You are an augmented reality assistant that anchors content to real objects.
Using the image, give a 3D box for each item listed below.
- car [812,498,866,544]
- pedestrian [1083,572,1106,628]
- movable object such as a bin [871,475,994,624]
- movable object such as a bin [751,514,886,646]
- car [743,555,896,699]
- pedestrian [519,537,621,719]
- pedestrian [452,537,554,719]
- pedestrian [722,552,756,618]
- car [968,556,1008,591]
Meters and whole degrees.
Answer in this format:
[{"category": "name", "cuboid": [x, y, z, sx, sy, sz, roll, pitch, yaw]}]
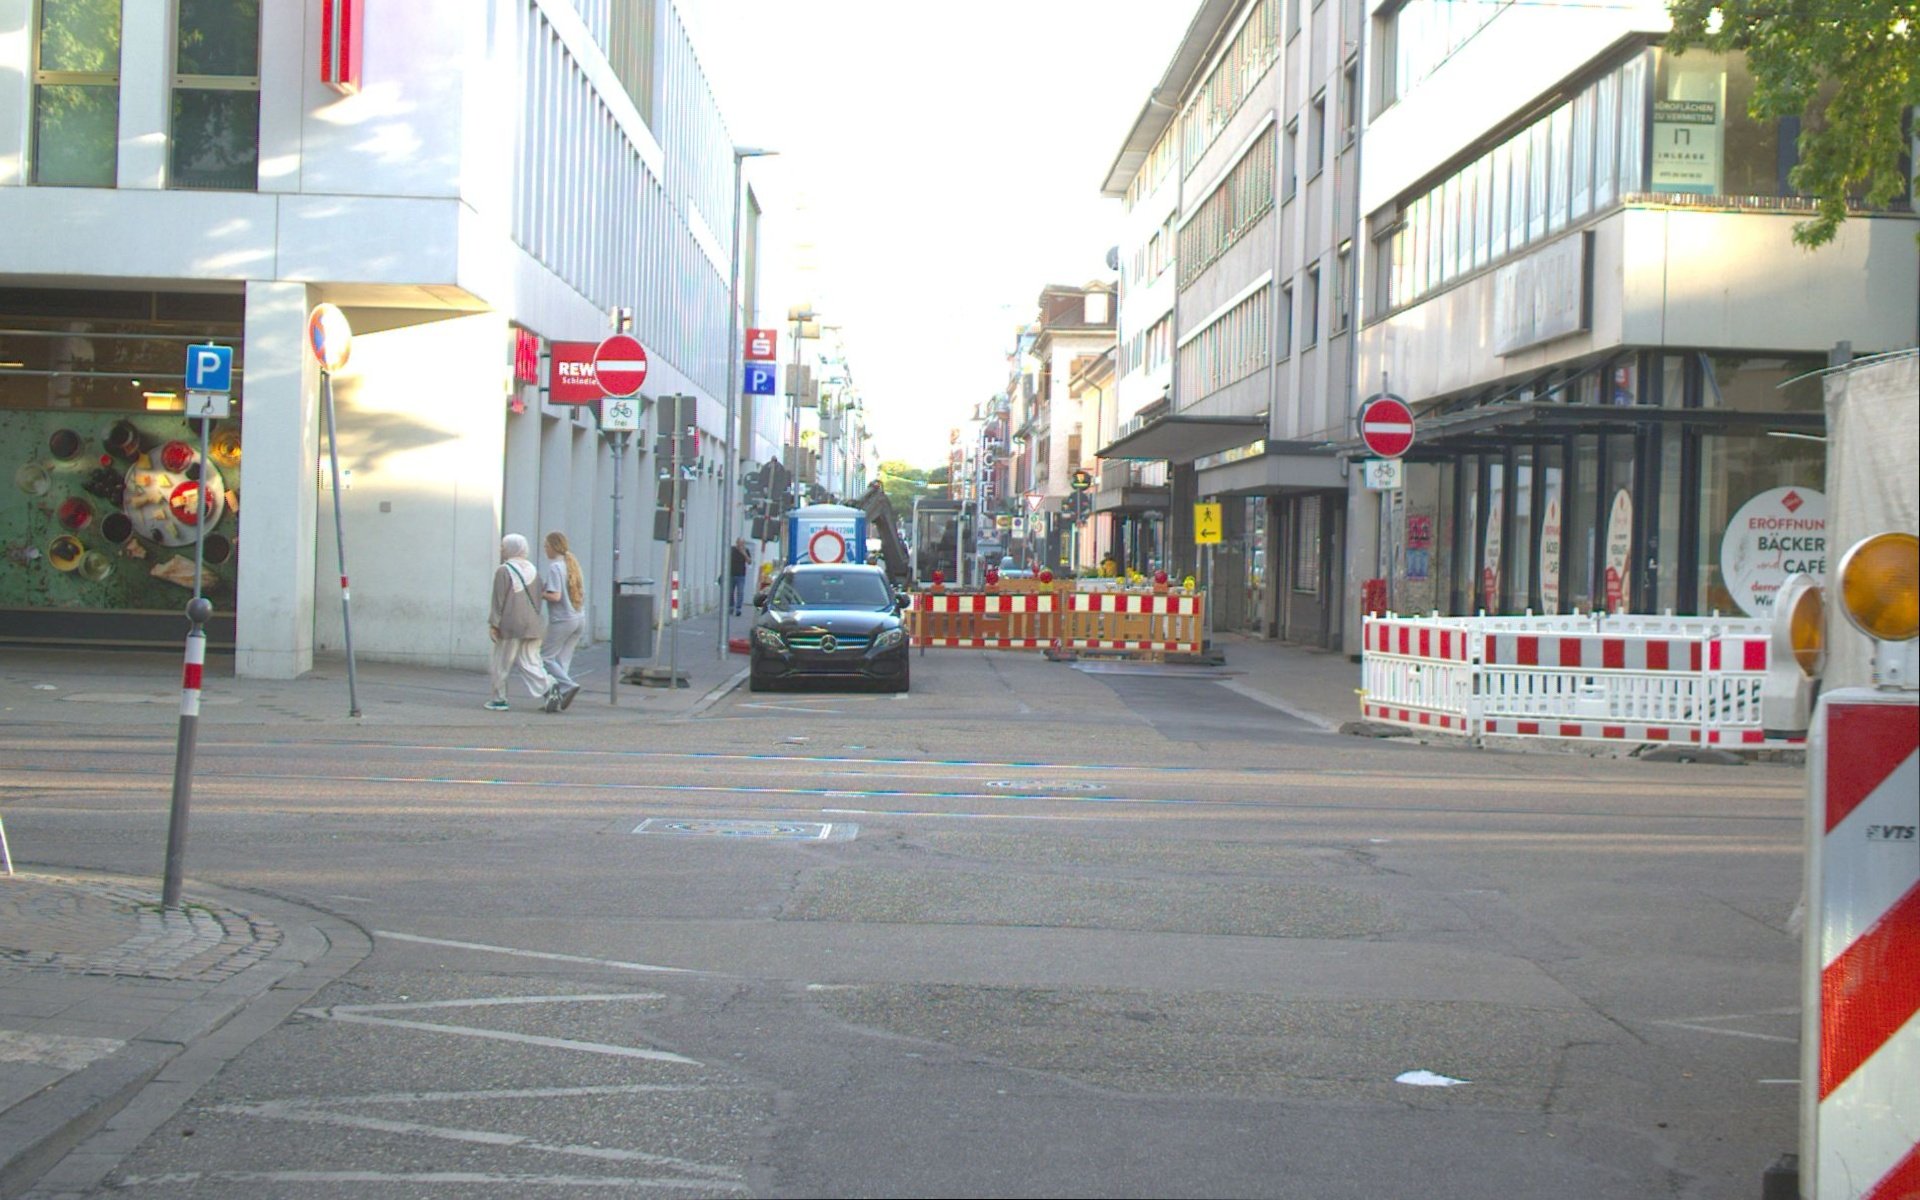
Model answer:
[{"category": "car", "cuboid": [-4.708, -3.072, 134.304, 1.993, 1.770, 4.000, 1, 1, -1]}, {"category": "pedestrian", "cuboid": [3.566, 0.003, 91.159, 0.524, 1.459, 0.718, 2, 1, 7]}, {"category": "movable object such as a bin", "cuboid": [-0.541, -0.952, 64.753, 2.156, 2.654, 4.573, 1, 1, -1]}, {"category": "movable object such as a bin", "cuboid": [-2.213, -0.340, 54.690, 1.993, 2.007, 4.000, 1, 1, 0]}, {"category": "car", "cuboid": [-1.642, 0.278, 39.362, 1.629, 1.545, 3.143, 1, 1, -4]}, {"category": "pedestrian", "cuboid": [-3.559, 0.245, 31.325, 0.609, 1.622, 0.873, 0, 1, -30]}, {"category": "pedestrian", "cuboid": [-4.136, 0.242, 31.053, 0.609, 1.622, 0.873, 0, 1, -30]}, {"category": "pedestrian", "cuboid": [-4.963, -0.342, 77.221, 0.716, 1.459, 0.525, 1, 1, 2]}, {"category": "car", "cuboid": [1.429, -1.381, 178.860, 1.993, 1.770, 4.000, 1, 1, -1]}]
